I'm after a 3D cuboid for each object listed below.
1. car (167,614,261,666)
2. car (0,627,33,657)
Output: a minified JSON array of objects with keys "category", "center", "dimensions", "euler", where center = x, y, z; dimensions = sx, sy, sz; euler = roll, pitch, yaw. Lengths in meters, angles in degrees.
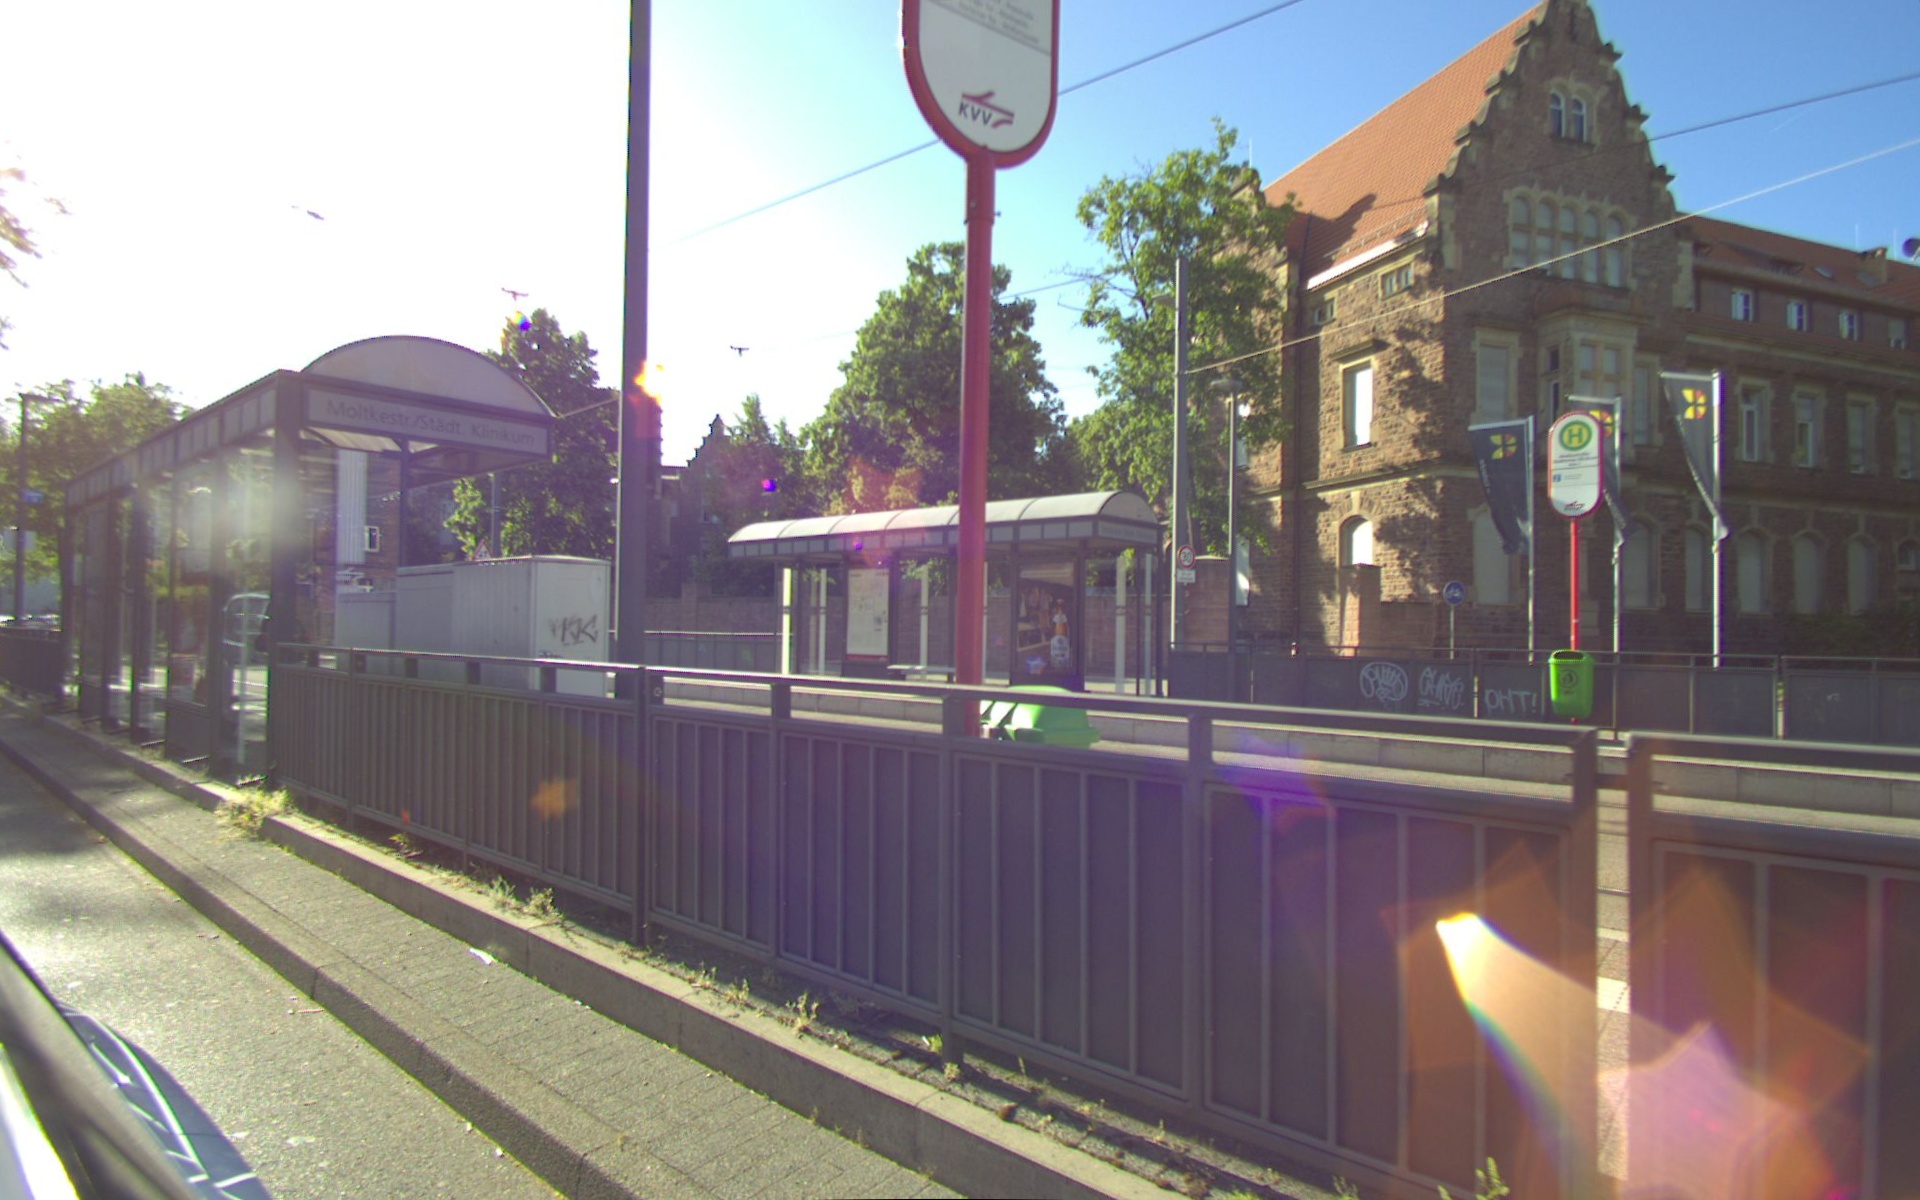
[{"category":"car","center":[-25.960,1.354,35.156],"dimensions":[4.359,1.690,1.885],"euler":[-1,-2,44]},{"category":"car","center":[-50.769,2.235,53.825],"dimensions":[3.982,1.414,1.835],"euler":[-6,-5,43]}]
